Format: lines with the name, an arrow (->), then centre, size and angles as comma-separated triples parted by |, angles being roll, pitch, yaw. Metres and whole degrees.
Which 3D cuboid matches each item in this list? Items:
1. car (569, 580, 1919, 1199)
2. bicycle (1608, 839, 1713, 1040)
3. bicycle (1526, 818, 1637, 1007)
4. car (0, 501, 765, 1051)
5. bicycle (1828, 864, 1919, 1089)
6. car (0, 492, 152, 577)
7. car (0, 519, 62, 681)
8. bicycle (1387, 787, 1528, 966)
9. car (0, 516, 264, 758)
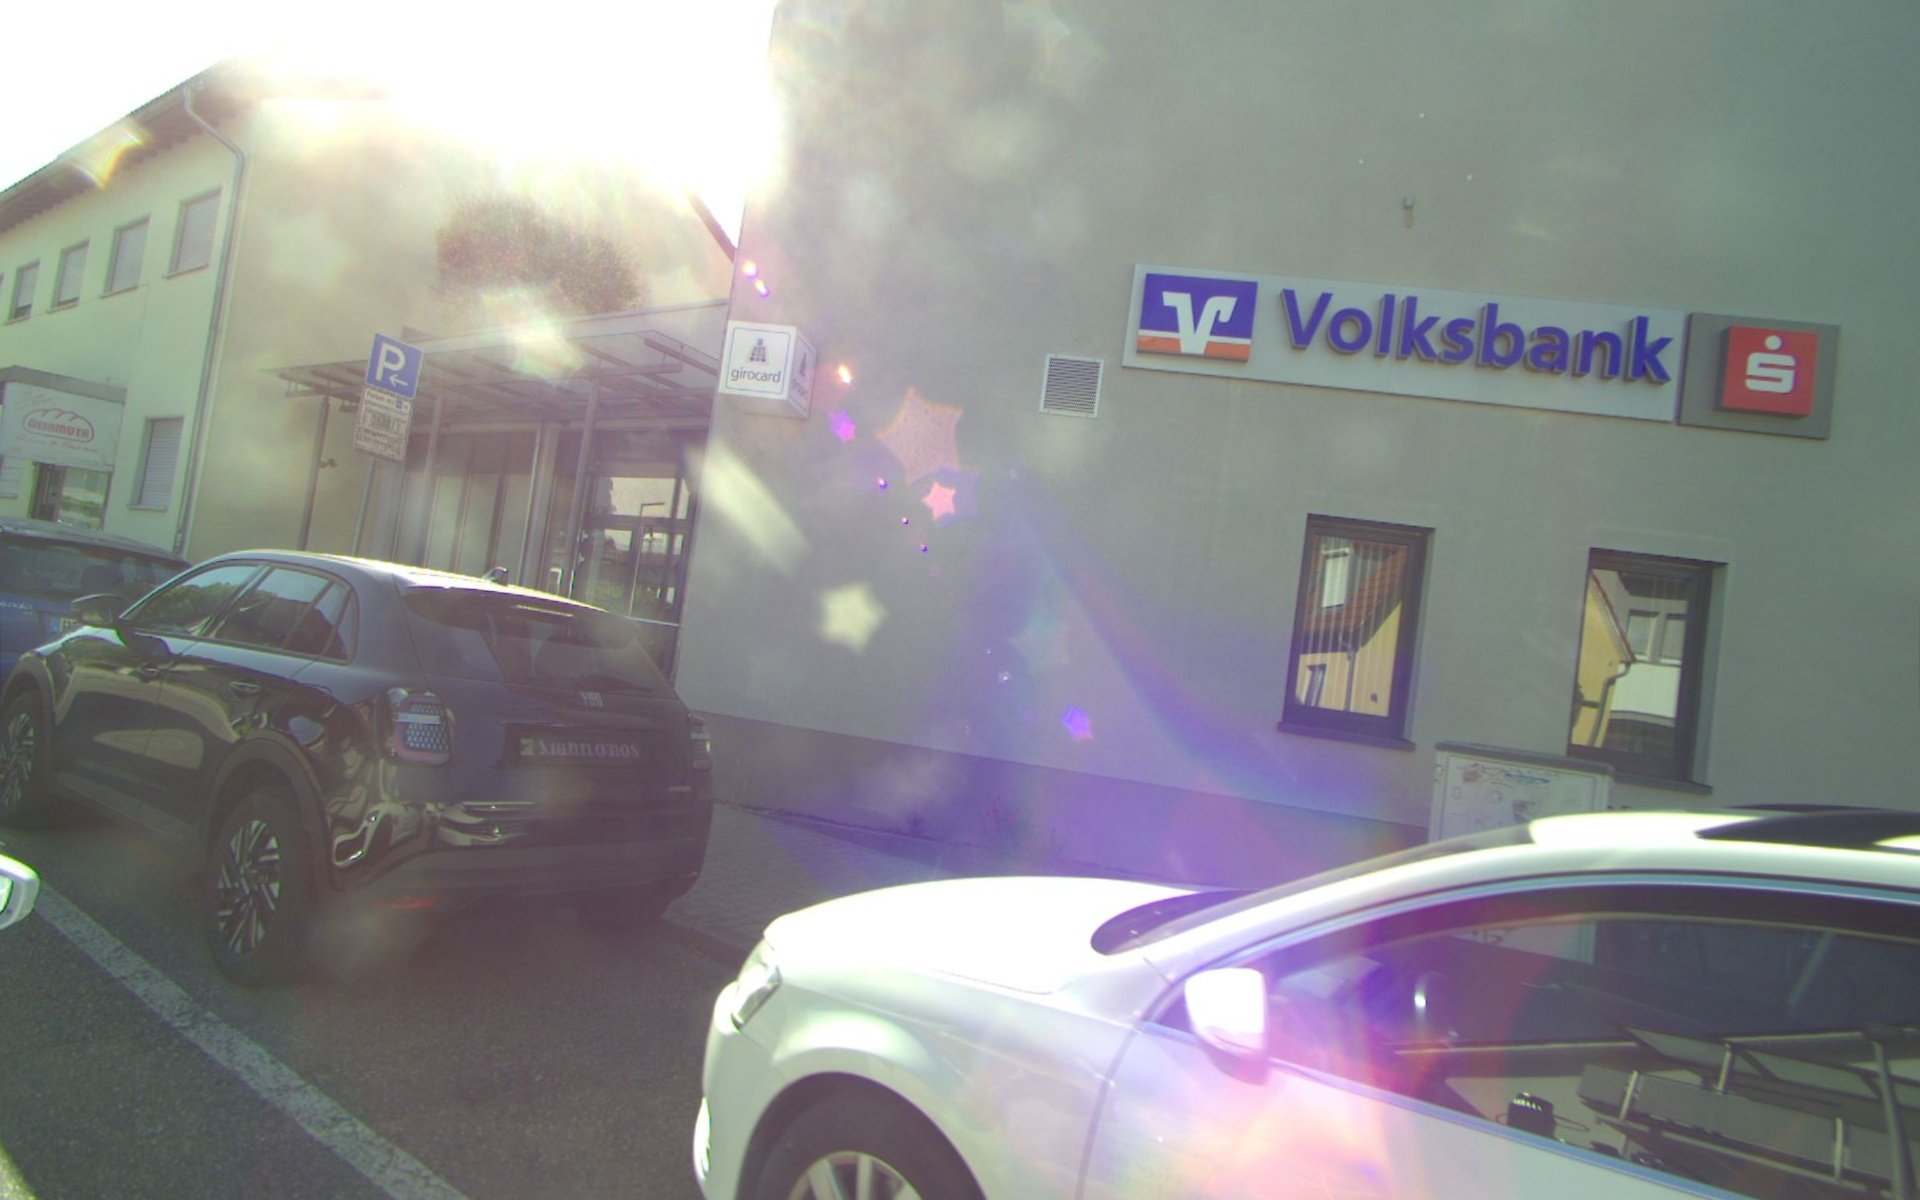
car -> 1.479, 1.034, 1.845 | 4.436, 1.530, 1.849 | 6, -4, 36
bicycle -> 4.067, 1.905, 5.816 | 0.309, 0.930, 1.162 | 6, -3, 41
bicycle -> 3.751, 1.825, 6.039 | 0.309, 0.930, 1.162 | 6, -3, 41
car -> -3.038, 0.551, 4.833 | 3.906, 1.536, 1.615 | 7, -5, 33
bicycle -> 4.985, 1.958, 5.321 | 0.308, 0.930, 1.166 | 7, -3, 31
car -> -25.606, -1.909, 27.688 | 1.875, 1.909, 4.773 | 7, -1, 28
car -> -11.150, -0.292, 10.243 | 4.373, 1.490, 1.813 | 6, -5, 34
bicycle -> 3.186, 1.717, 6.401 | 1.220, 0.986, 0.316 | 10, -3, -44
car -> -7.399, 0.135, 7.917 | 3.813, 1.490, 1.730 | 6, -5, 34
